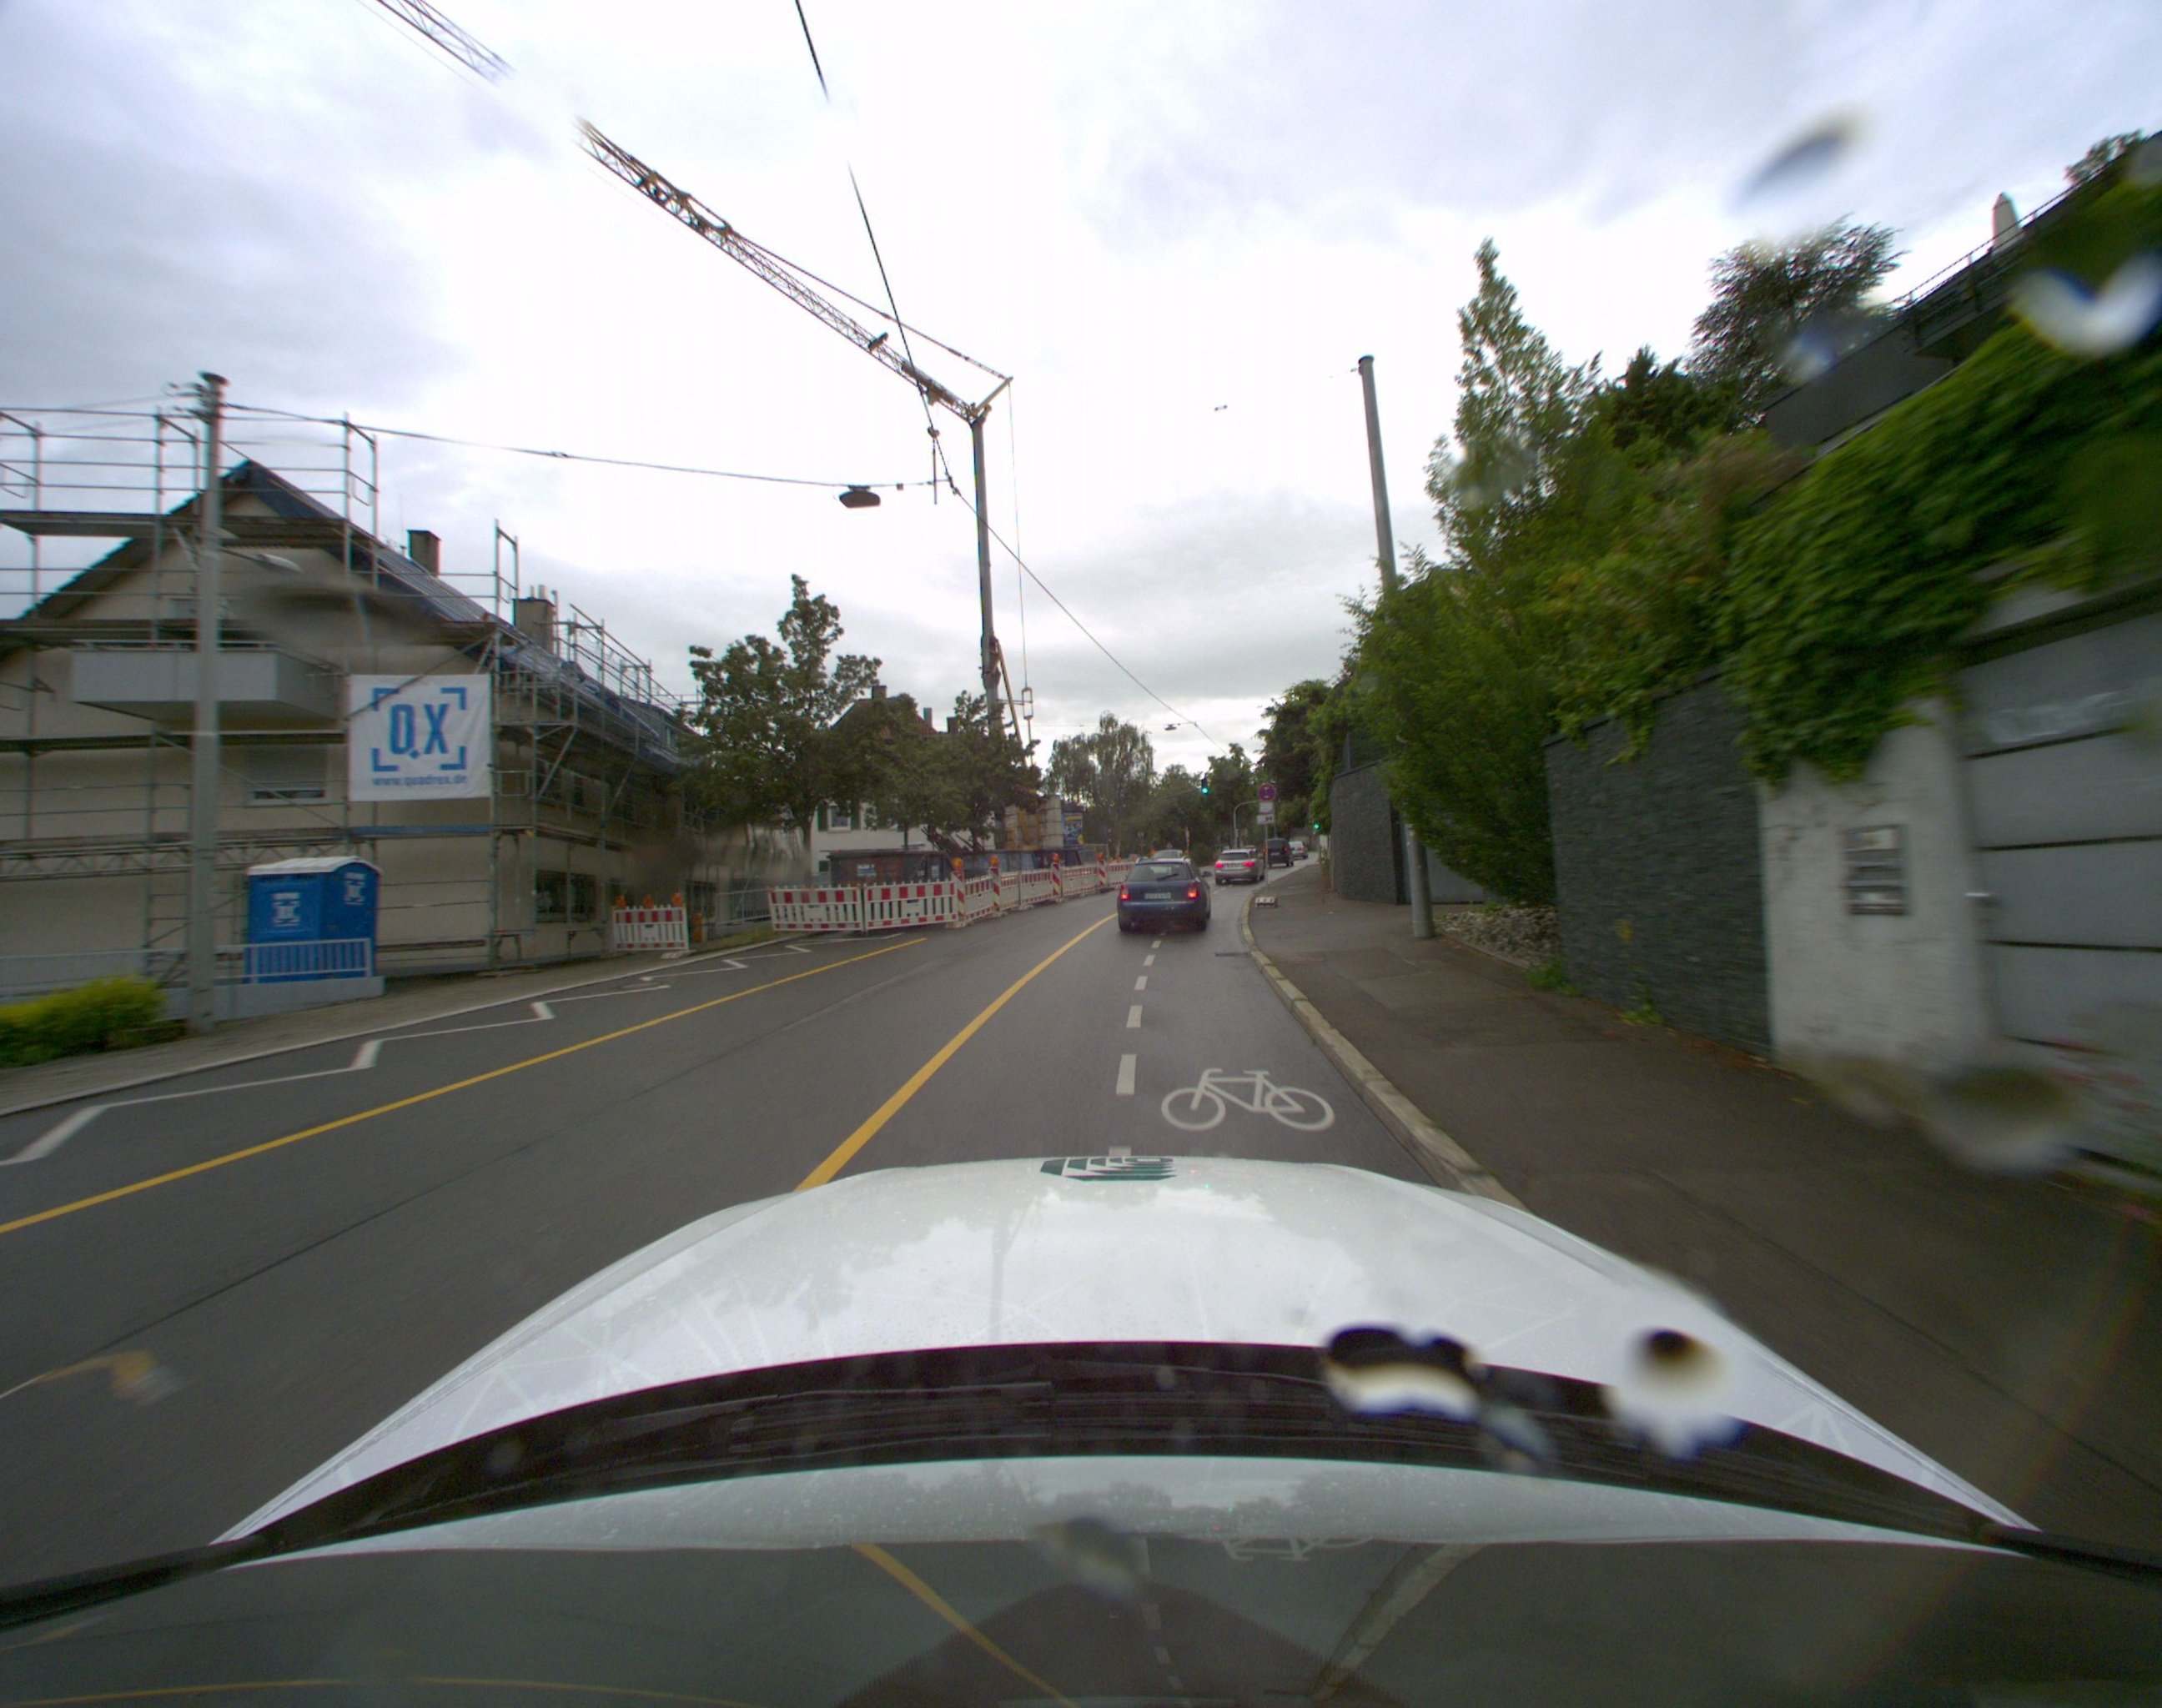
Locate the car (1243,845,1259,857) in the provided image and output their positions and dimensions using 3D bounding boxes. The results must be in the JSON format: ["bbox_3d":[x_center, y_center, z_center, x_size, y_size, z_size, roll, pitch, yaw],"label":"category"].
[{"bbox_3d":[23.048,-0.358,110.596,1.664,1.426,4.009,-5,-1,8],"label":"car"}]

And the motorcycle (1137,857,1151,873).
[{"bbox_3d":[4.994,0.859,64.129,0.586,1.131,1.852,-5,-1,18],"label":"motorcycle"}]

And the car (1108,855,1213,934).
[{"bbox_3d":[1.793,0.763,17.165,1.765,1.439,4.013,-1,0,11],"label":"car"}]

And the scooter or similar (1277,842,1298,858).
[{"bbox_3d":[16.365,-0.330,64.485,0.654,1.057,1.547,-5,-4,-23],"label":"scooter or similar"}]

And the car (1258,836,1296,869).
[{"bbox_3d":[12.649,-0.112,52.399,1.716,1.894,4.076,-5,-1,20],"label":"car"}]

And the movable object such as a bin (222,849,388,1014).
[{"bbox_3d":[-12.686,1.203,13.388,1.310,2.505,1.384,-3,0,-4],"label":"movable object such as a bin"}]

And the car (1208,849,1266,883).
[{"bbox_3d":[6.906,0.515,35.689,1.893,1.388,4.371,-1,-1,18],"label":"car"}]

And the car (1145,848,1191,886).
[{"bbox_3d":[3.818,0.543,35.339,1.444,1.526,2.935,-2,0,16],"label":"car"}]

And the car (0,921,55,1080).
[{"bbox_3d":[-13.123,1.694,7.596,4.192,1.604,1.946,-6,-1,-6],"label":"car"}]
